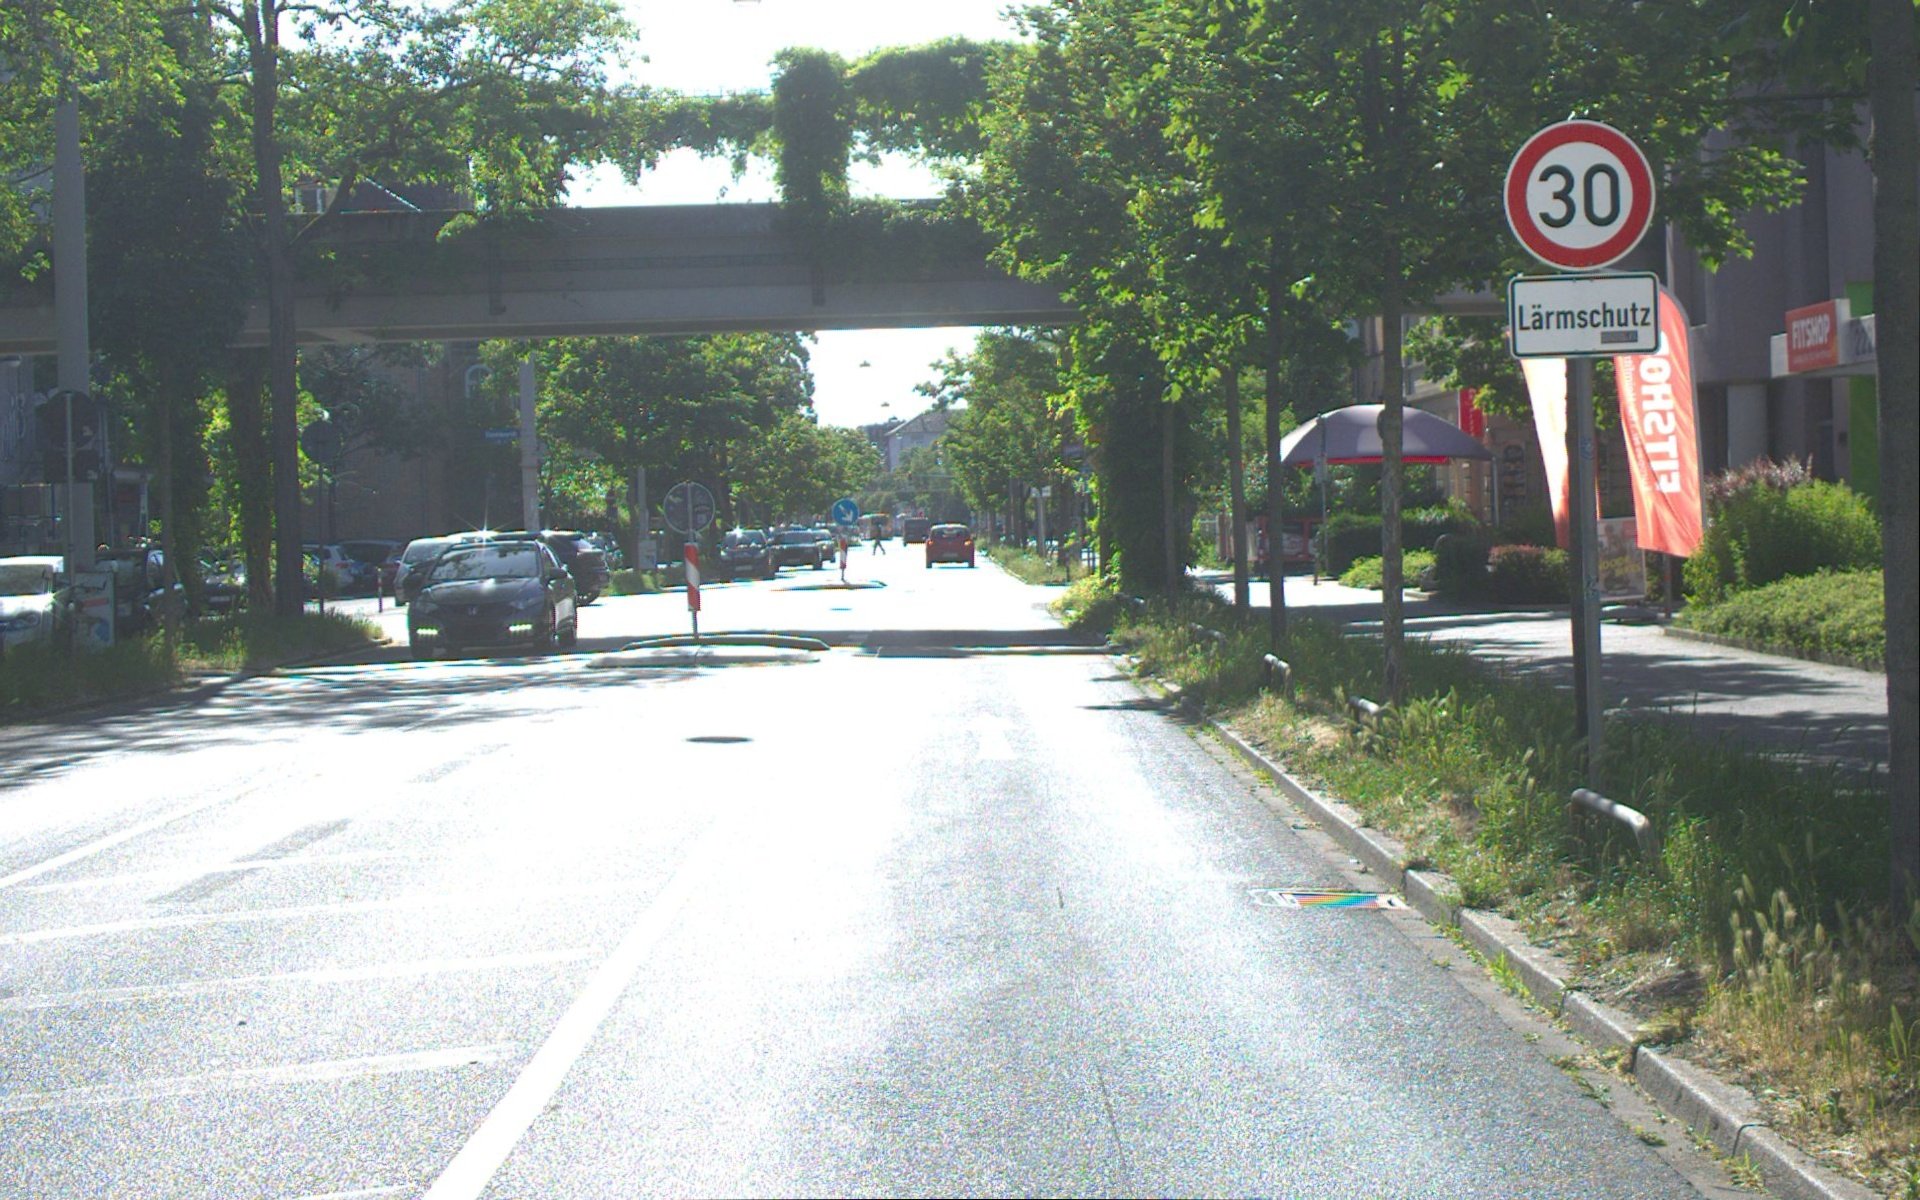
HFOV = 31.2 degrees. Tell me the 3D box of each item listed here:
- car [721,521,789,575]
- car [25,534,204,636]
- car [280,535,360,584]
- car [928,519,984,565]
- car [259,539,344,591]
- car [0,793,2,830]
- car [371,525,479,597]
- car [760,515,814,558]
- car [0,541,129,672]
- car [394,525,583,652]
[{"bbox_3d":[-6.090,-1.568,102.595,1.855,1.517,4.319,0,2,-1],"label":"car"},{"bbox_3d":[-11.586,-0.231,47.317,1.633,1.302,3.583,0,2,-1],"label":"car"},{"bbox_3d":[-20.786,-1.322,111.776,1.855,1.517,4.319,0,2,-1],"label":"car"},{"bbox_3d":[-0.122,-2.032,119.326,1.856,1.517,4.319,0,2,1],"label":"car"},{"bbox_3d":[-20.248,-1.102,105.873,1.855,1.517,4.319,0,2,-1],"label":"car"},{"bbox_3d":[-5.845,0.506,15.277,1.855,1.562,4.716,-3,2,-1],"label":"car"},{"bbox_3d":[-11.913,-0.891,76.770,1.855,1.517,4.078,0,2,-1],"label":"car"},{"bbox_3d":[-6.363,-2.351,126.798,1.855,1.517,4.319,0,2,-1],"label":"car"},{"bbox_3d":[-11.833,0.046,43.111,1.855,1.517,4.319,0,2,-1],"label":"car"},{"bbox_3d":[-6.029,-0.190,44.367,1.855,1.435,4.319,-3,2,-1],"label":"car"}]
